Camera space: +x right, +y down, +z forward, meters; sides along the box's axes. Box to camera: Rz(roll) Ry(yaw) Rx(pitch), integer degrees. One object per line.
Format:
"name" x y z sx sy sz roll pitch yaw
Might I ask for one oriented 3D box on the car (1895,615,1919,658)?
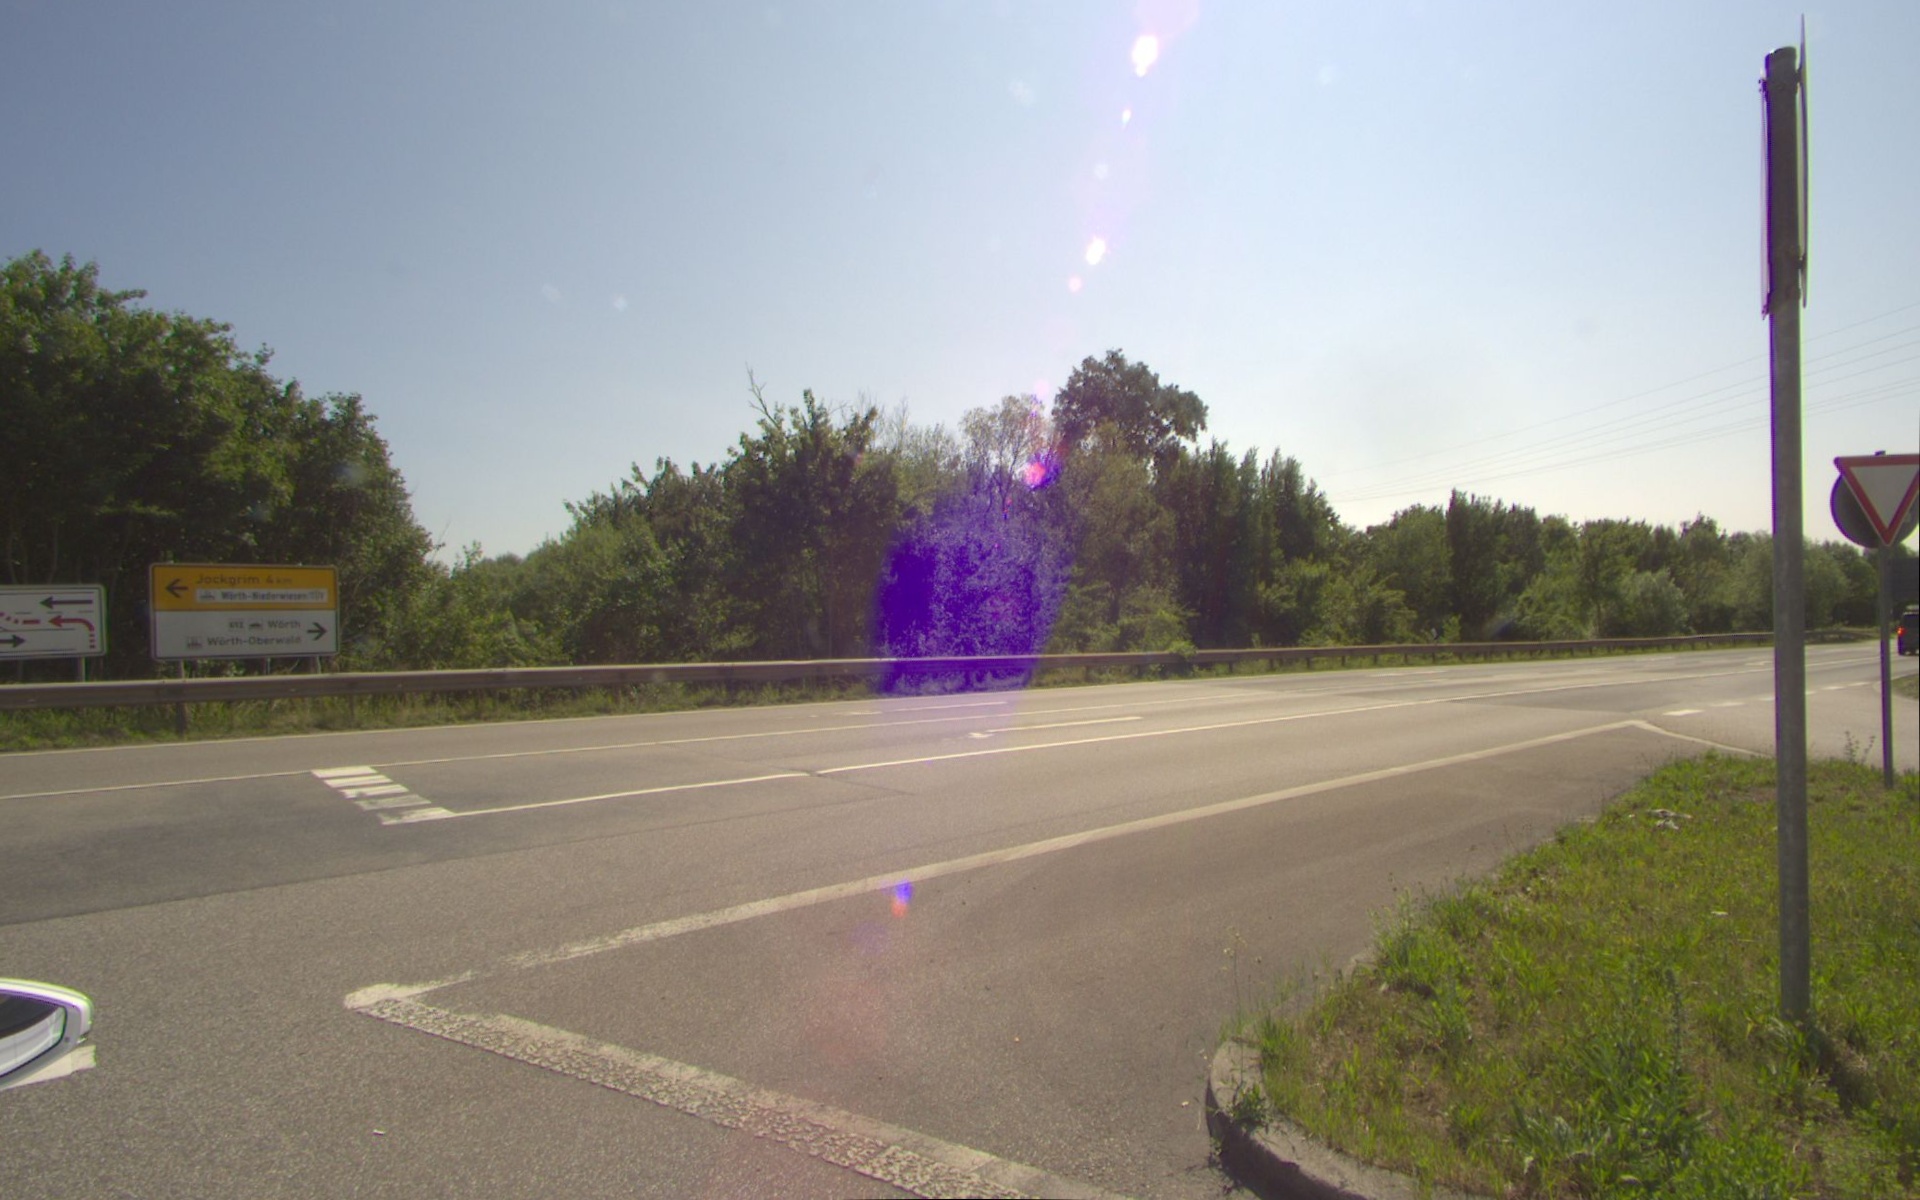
"car" 44.273 1.641 45.308 4.933 1.903 1.986 1 -2 -36
